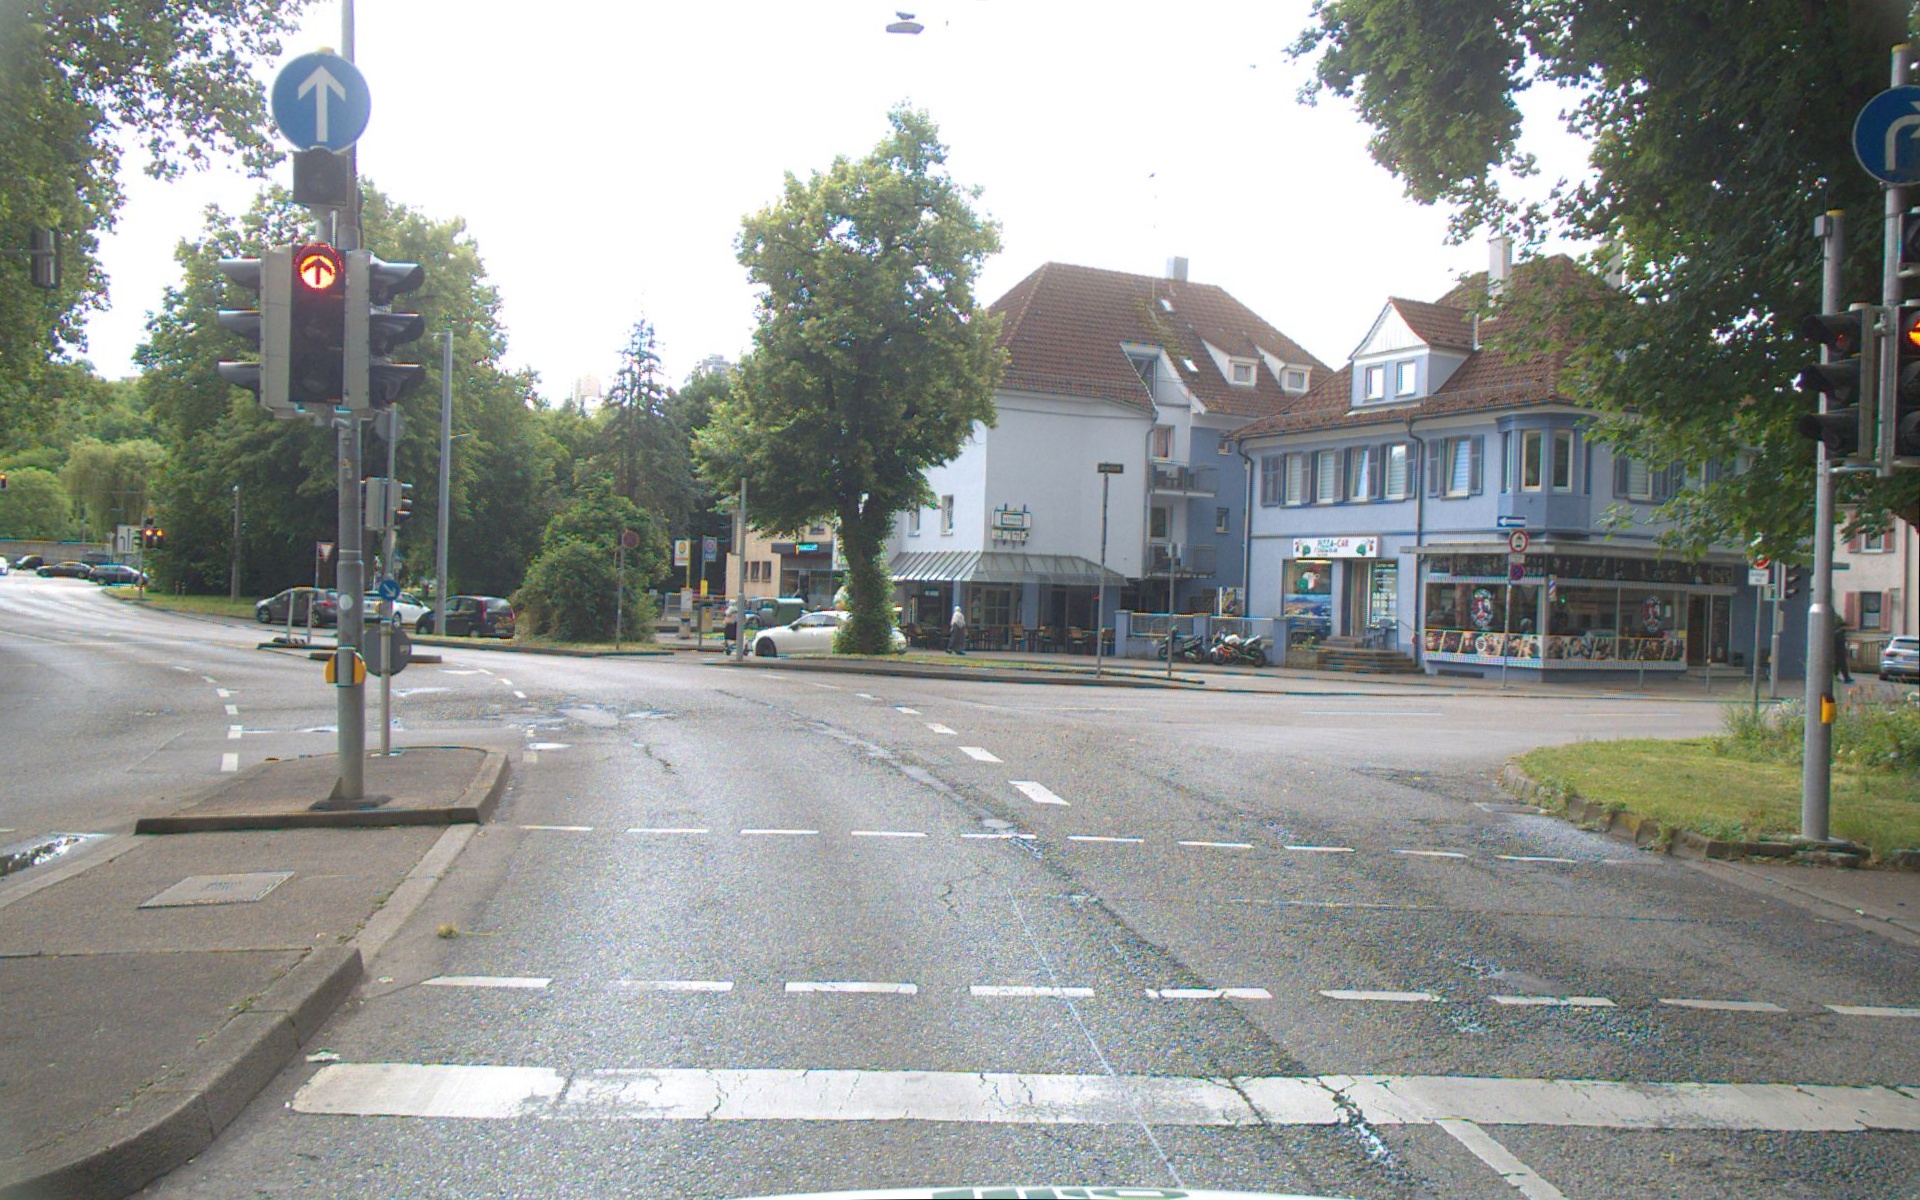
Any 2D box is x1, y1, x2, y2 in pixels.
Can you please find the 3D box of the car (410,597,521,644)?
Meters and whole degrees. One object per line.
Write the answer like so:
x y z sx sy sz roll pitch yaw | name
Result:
-16.004 0.660 53.464 3.519 1.418 1.468 1 0 32 | car

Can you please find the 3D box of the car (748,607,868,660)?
-4.242 0.917 45.960 3.110 1.378 1.435 1 0 34 | car

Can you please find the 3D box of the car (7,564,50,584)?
-102.213 -2.824 181.492 3.948 2.049 1.978 1 0 -32 | car

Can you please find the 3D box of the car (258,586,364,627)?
-24.856 0.246 63.395 3.469 1.490 1.586 1 0 12 | car

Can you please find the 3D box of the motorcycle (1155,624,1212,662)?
6.795 1.293 50.239 1.609 1.082 0.690 1 0 44 | motorcycle

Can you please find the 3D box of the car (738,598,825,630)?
-8.155 0.642 75.734 3.690 1.368 1.421 1 0 -27 | car

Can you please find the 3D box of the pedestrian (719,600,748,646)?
-7.912 0.795 57.775 0.694 1.572 0.675 1 0 39 | pedestrian

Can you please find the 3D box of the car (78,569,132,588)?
-75.488 -1.914 146.126 3.923 1.578 1.860 1 0 -17 | car

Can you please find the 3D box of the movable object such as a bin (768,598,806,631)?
-7.715 0.658 73.843 1.424 1.433 0.959 1 0 -27 | movable object such as a bin

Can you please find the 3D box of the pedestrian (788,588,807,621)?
-7.822 0.212 79.593 0.670 1.572 0.699 2 0 -35 | pedestrian

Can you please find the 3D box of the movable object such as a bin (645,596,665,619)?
-15.850 0.395 85.916 0.937 1.135 0.381 1 0 -22 | movable object such as a bin

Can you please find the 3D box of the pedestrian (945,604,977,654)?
0.034 0.940 53.530 0.754 1.572 0.675 1 -1 38 | pedestrian

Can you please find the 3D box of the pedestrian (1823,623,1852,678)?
25.185 1.450 47.478 0.450 1.544 0.585 1 -1 -16 | pedestrian

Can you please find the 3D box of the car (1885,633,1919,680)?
29.855 1.737 51.416 1.471 1.393 3.164 1 0 38 | car

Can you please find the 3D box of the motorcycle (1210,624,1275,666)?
8.276 1.310 48.482 1.765 1.141 0.692 1 0 38 | motorcycle

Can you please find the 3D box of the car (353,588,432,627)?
-22.666 0.307 66.186 1.512 1.490 3.398 1 0 10 | car

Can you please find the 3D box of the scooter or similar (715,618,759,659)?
-5.727 0.982 42.543 0.408 1.029 1.567 1 0 20 | scooter or similar
